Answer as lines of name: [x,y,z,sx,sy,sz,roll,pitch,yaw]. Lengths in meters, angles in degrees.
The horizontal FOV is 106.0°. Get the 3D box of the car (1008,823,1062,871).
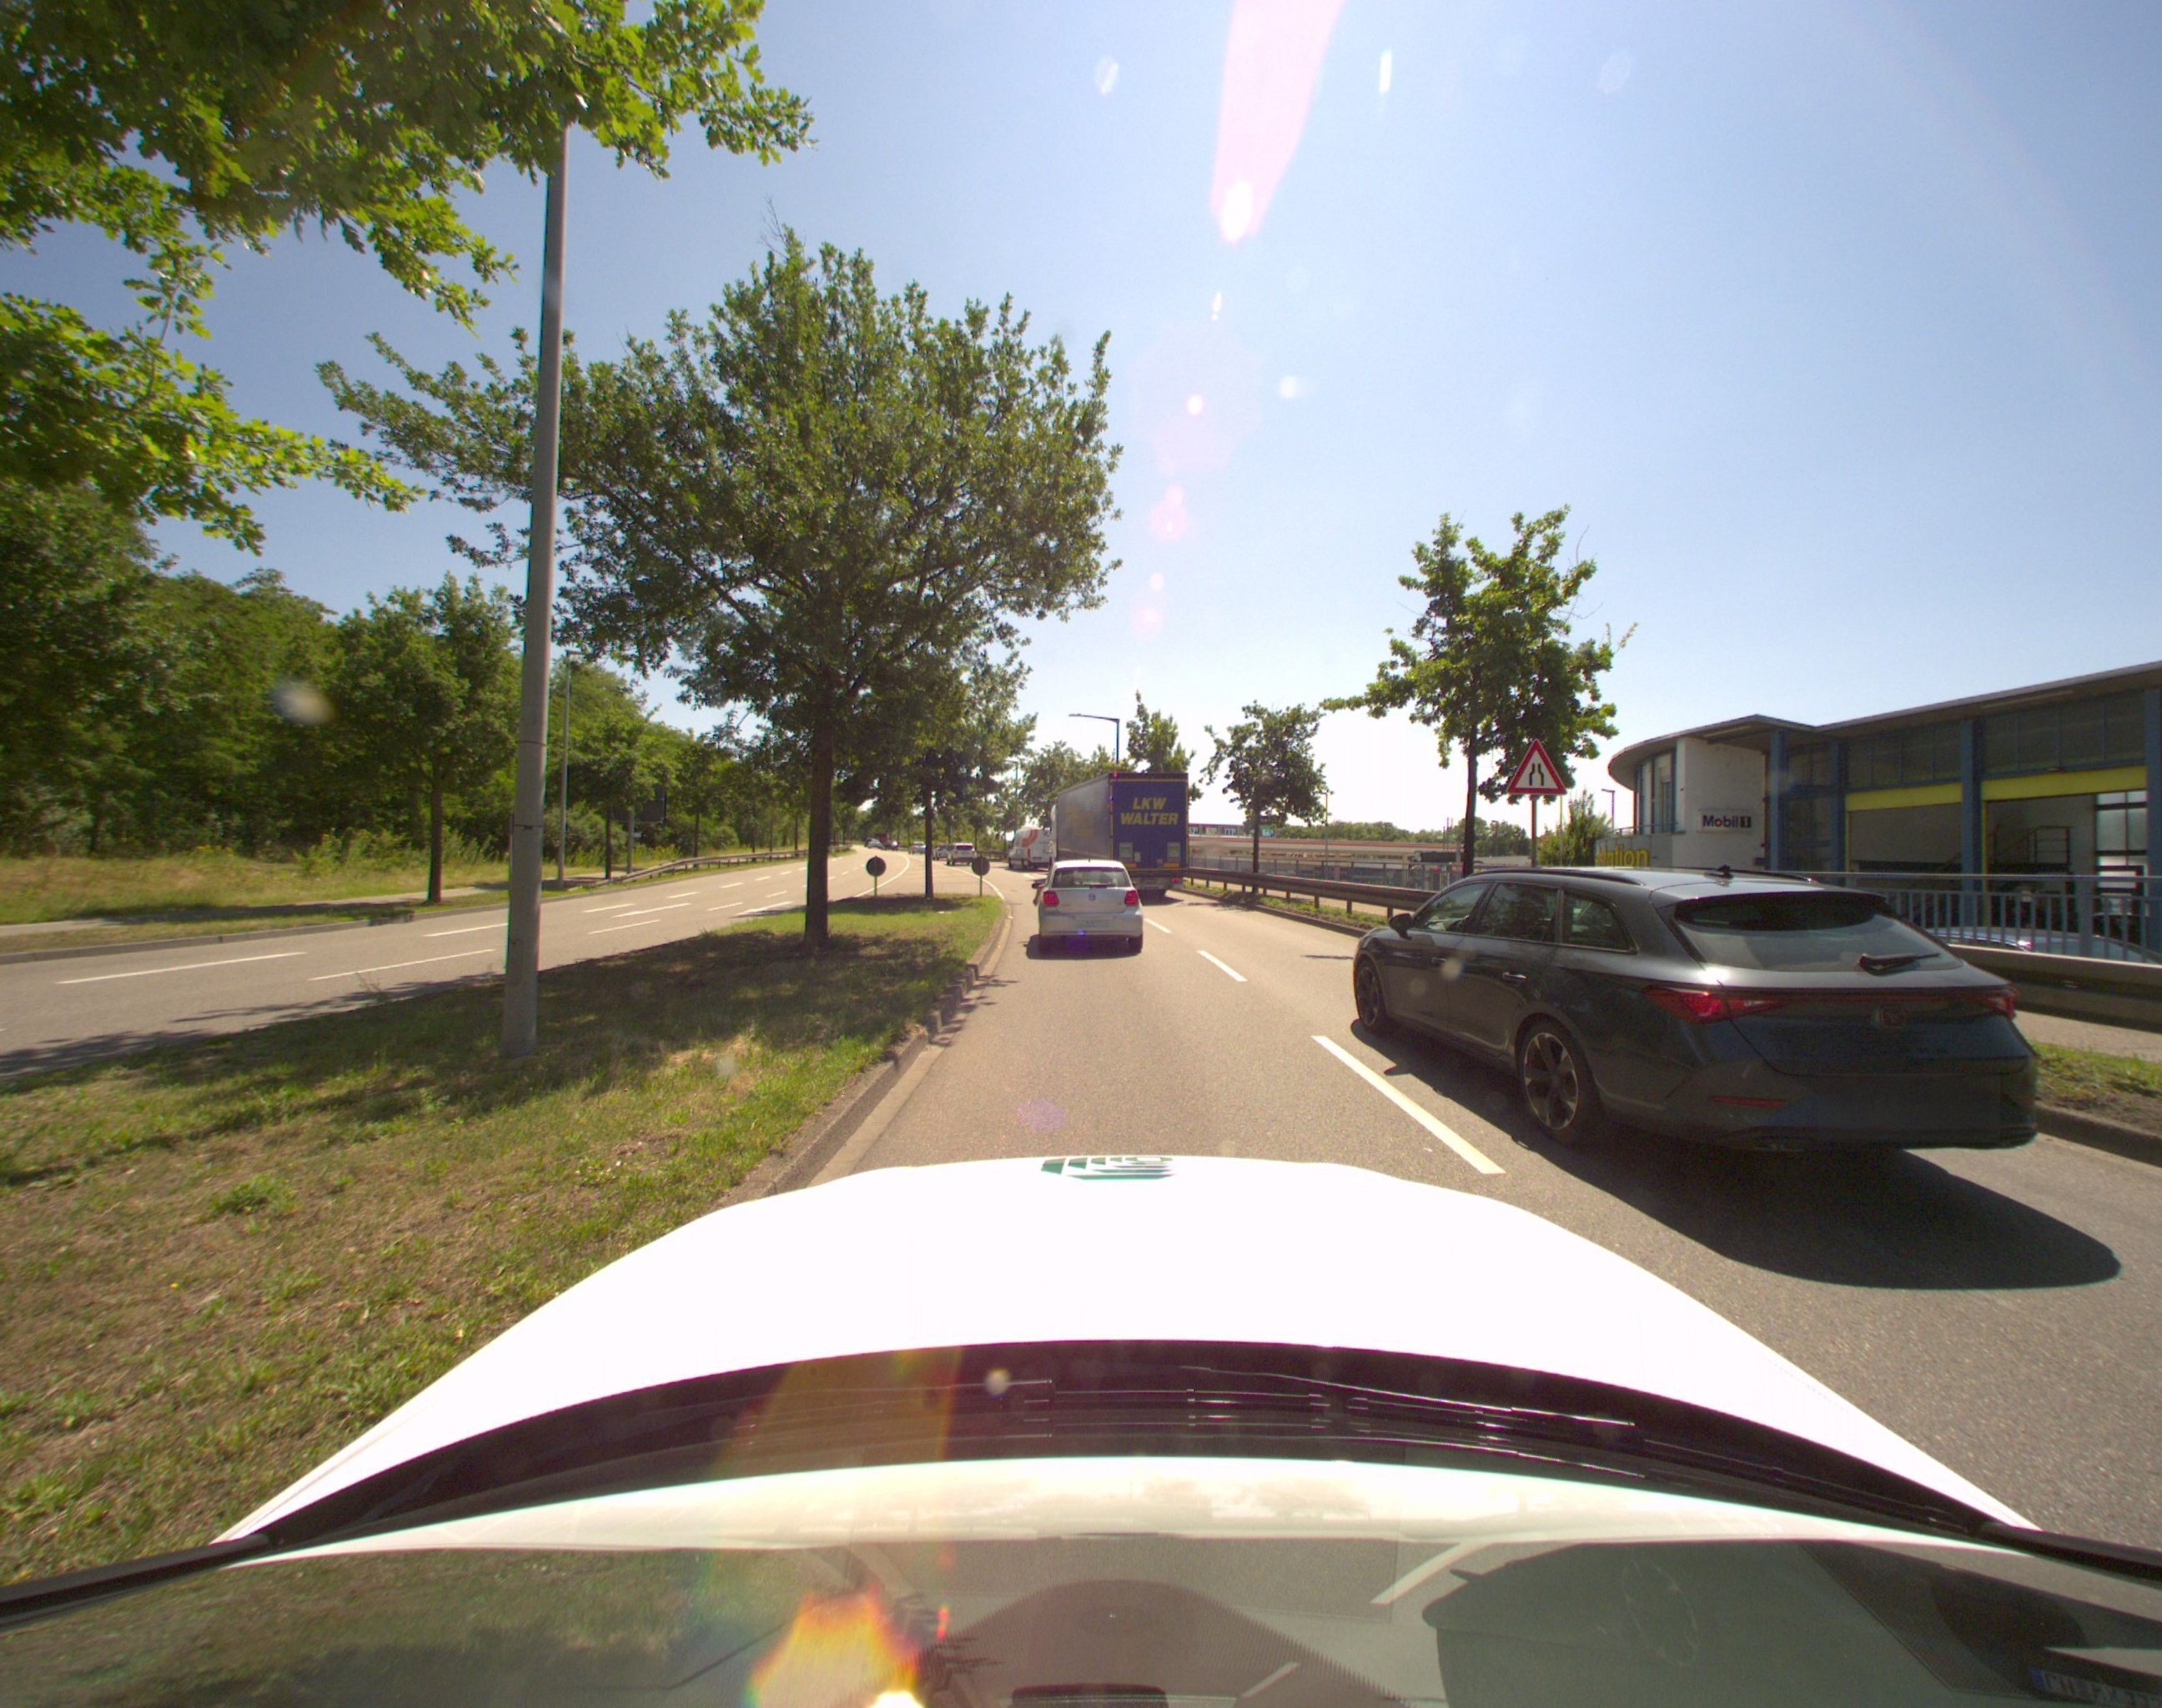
car: [-3.071,-0.480,52.578,2.180,2.900,6.325,1,1,-16]

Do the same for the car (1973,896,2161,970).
car: [24.747,1.911,20.235,3.663,1.684,1.647,0,-1,-6]

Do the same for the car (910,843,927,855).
car: [-19.161,-0.538,96.087,1.612,1.360,3.640,1,0,-18]

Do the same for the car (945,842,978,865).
car: [-9.060,-0.006,61.618,1.908,1.718,4.199,1,-1,-17]

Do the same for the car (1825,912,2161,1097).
car: [10.904,1.528,9.107,1.627,1.532,3.899,0,-1,0]

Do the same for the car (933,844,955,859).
car: [-12.538,-0.216,74.352,1.499,1.360,3.640,1,0,-18]

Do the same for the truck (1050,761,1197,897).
truck: [1.033,-0.744,33.478,2.832,4.198,16.425,0,0,-8]

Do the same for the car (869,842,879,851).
car: [-32.515,-1.193,128.162,1.459,1.314,3.620,1,-1,-14]

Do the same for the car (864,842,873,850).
car: [-37.060,-1.360,141.836,1.419,1.314,3.321,1,-1,-14]

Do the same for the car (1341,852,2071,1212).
car: [3.242,0.761,5.451,1.600,1.456,4.233,0,-1,-1]

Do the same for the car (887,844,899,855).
car: [-26.457,-0.613,114.684,1.667,1.465,3.564,1,-1,-14]

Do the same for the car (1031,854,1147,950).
car: [0.026,0.760,14.084,1.644,1.439,3.530,0,-1,-6]
